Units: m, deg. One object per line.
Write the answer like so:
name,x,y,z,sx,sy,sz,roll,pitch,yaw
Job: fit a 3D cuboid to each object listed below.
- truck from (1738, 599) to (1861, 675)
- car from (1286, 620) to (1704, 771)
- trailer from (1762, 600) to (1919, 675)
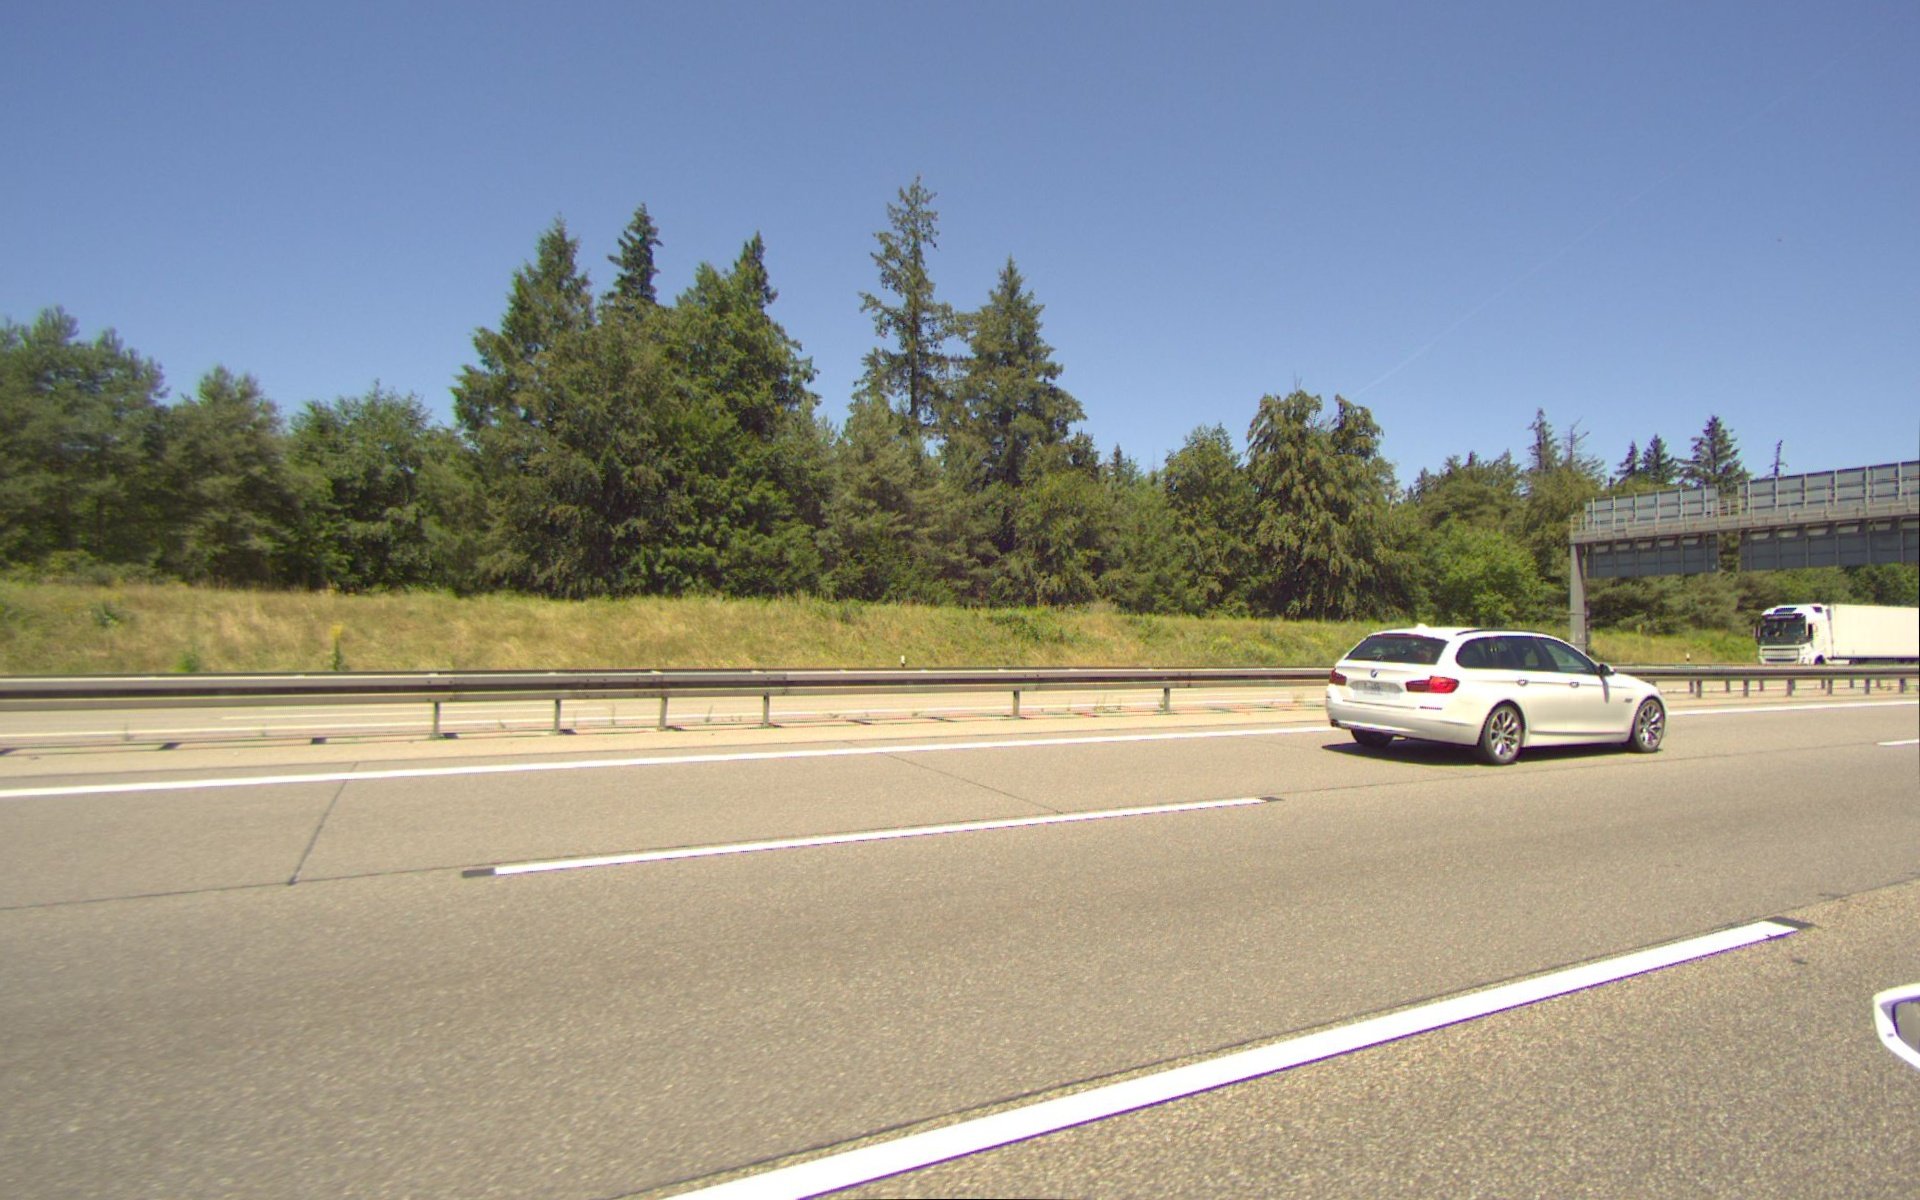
truck,47.494,2.085,56.815,6.135,4.071,3.203,2,-1,-27
car,6.701,1.088,12.419,5.338,1.523,1.956,2,-1,-29
trailer,53.363,2.290,59.791,14.174,4.096,3.203,2,-1,-27
